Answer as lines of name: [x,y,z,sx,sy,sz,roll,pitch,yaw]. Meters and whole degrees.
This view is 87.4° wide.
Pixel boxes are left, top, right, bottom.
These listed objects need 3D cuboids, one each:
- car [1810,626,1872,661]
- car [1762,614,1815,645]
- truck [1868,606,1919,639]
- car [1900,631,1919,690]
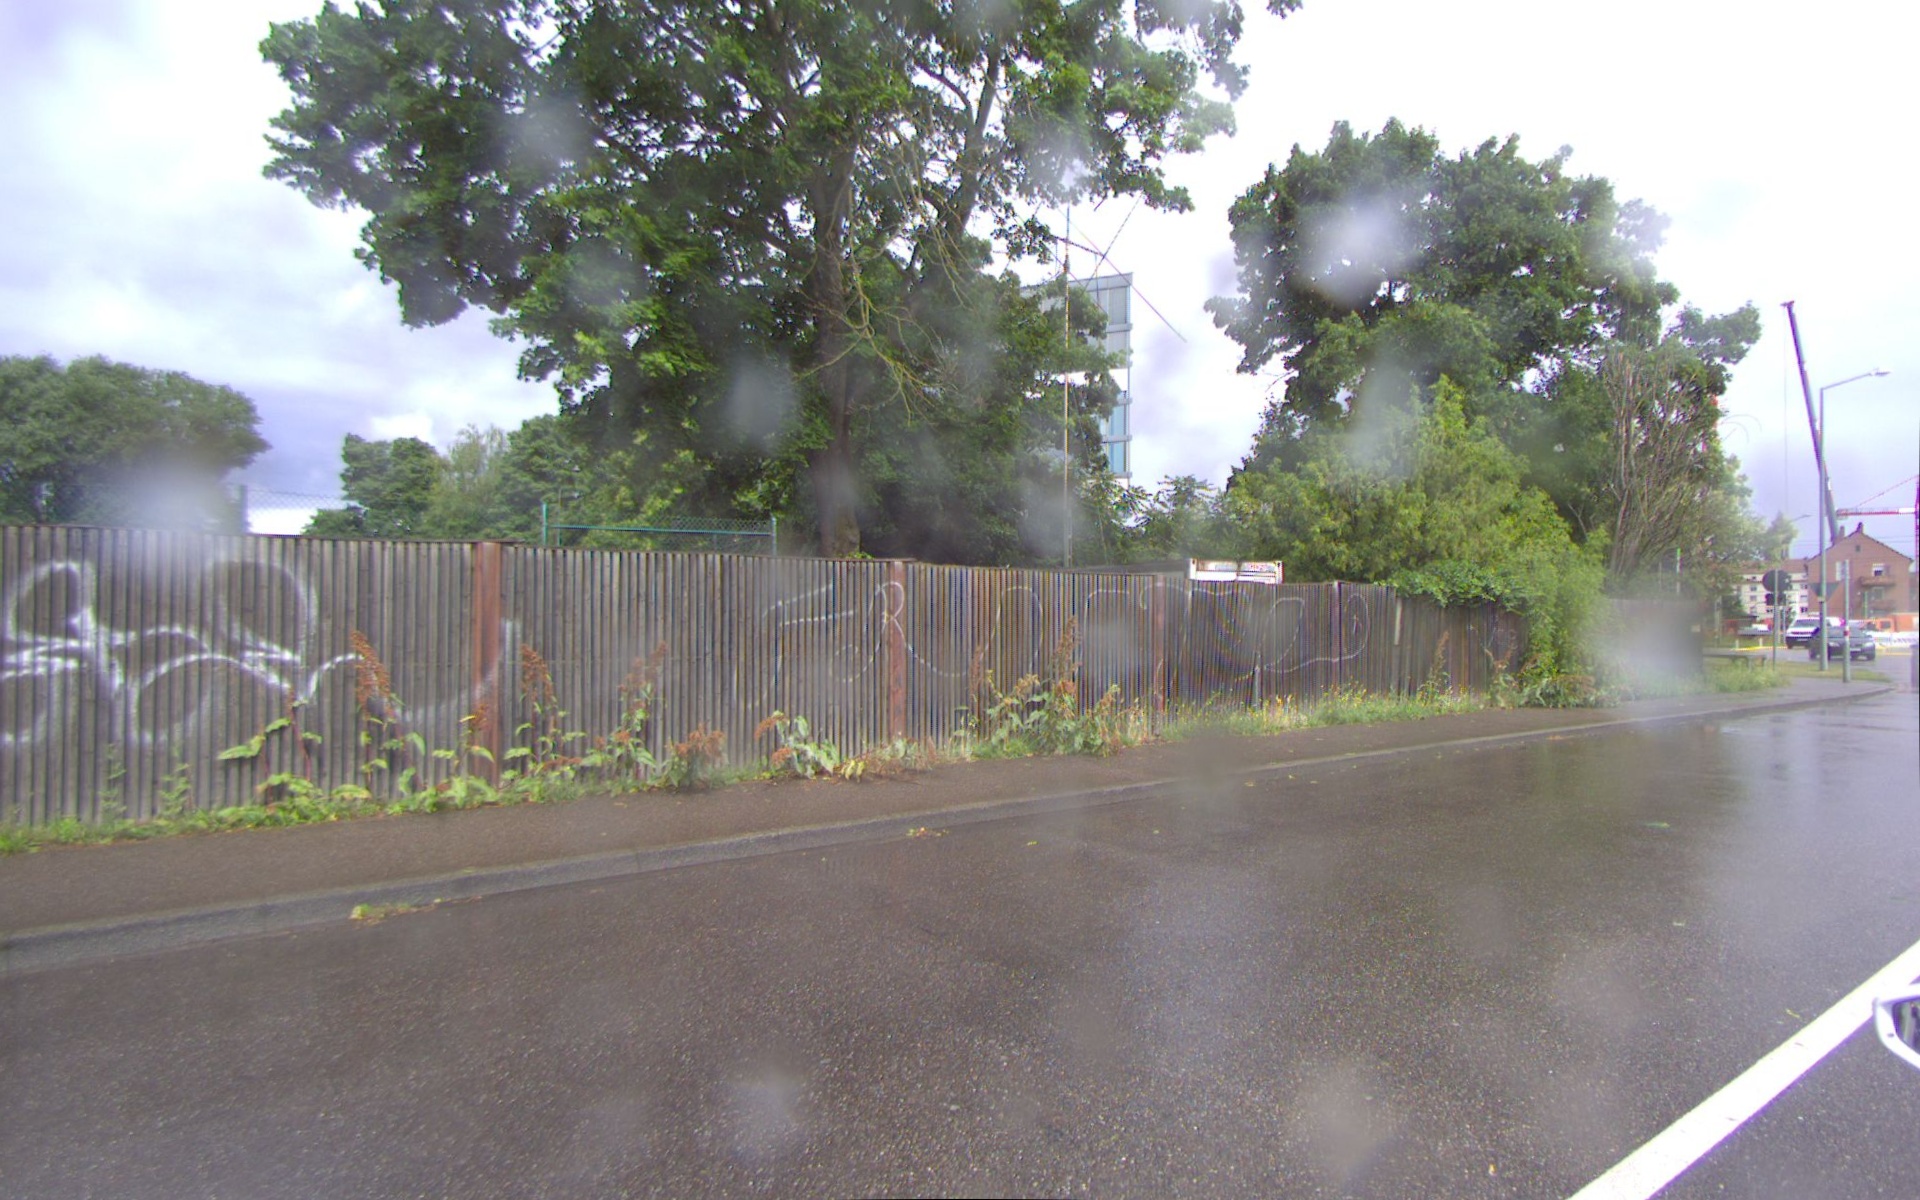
car: [40.127,1.972,45.820,1.851,1.502,4.161,-1,-2,38]
car: [51.465,1.816,62.343,5.096,1.901,1.870,1,-1,-43]
truck: [72.424,1.671,74.937,6.606,2.475,2.429,-1,-1,31]
car: [27.443,1.625,27.859,1.761,1.572,4.404,-4,-4,41]
